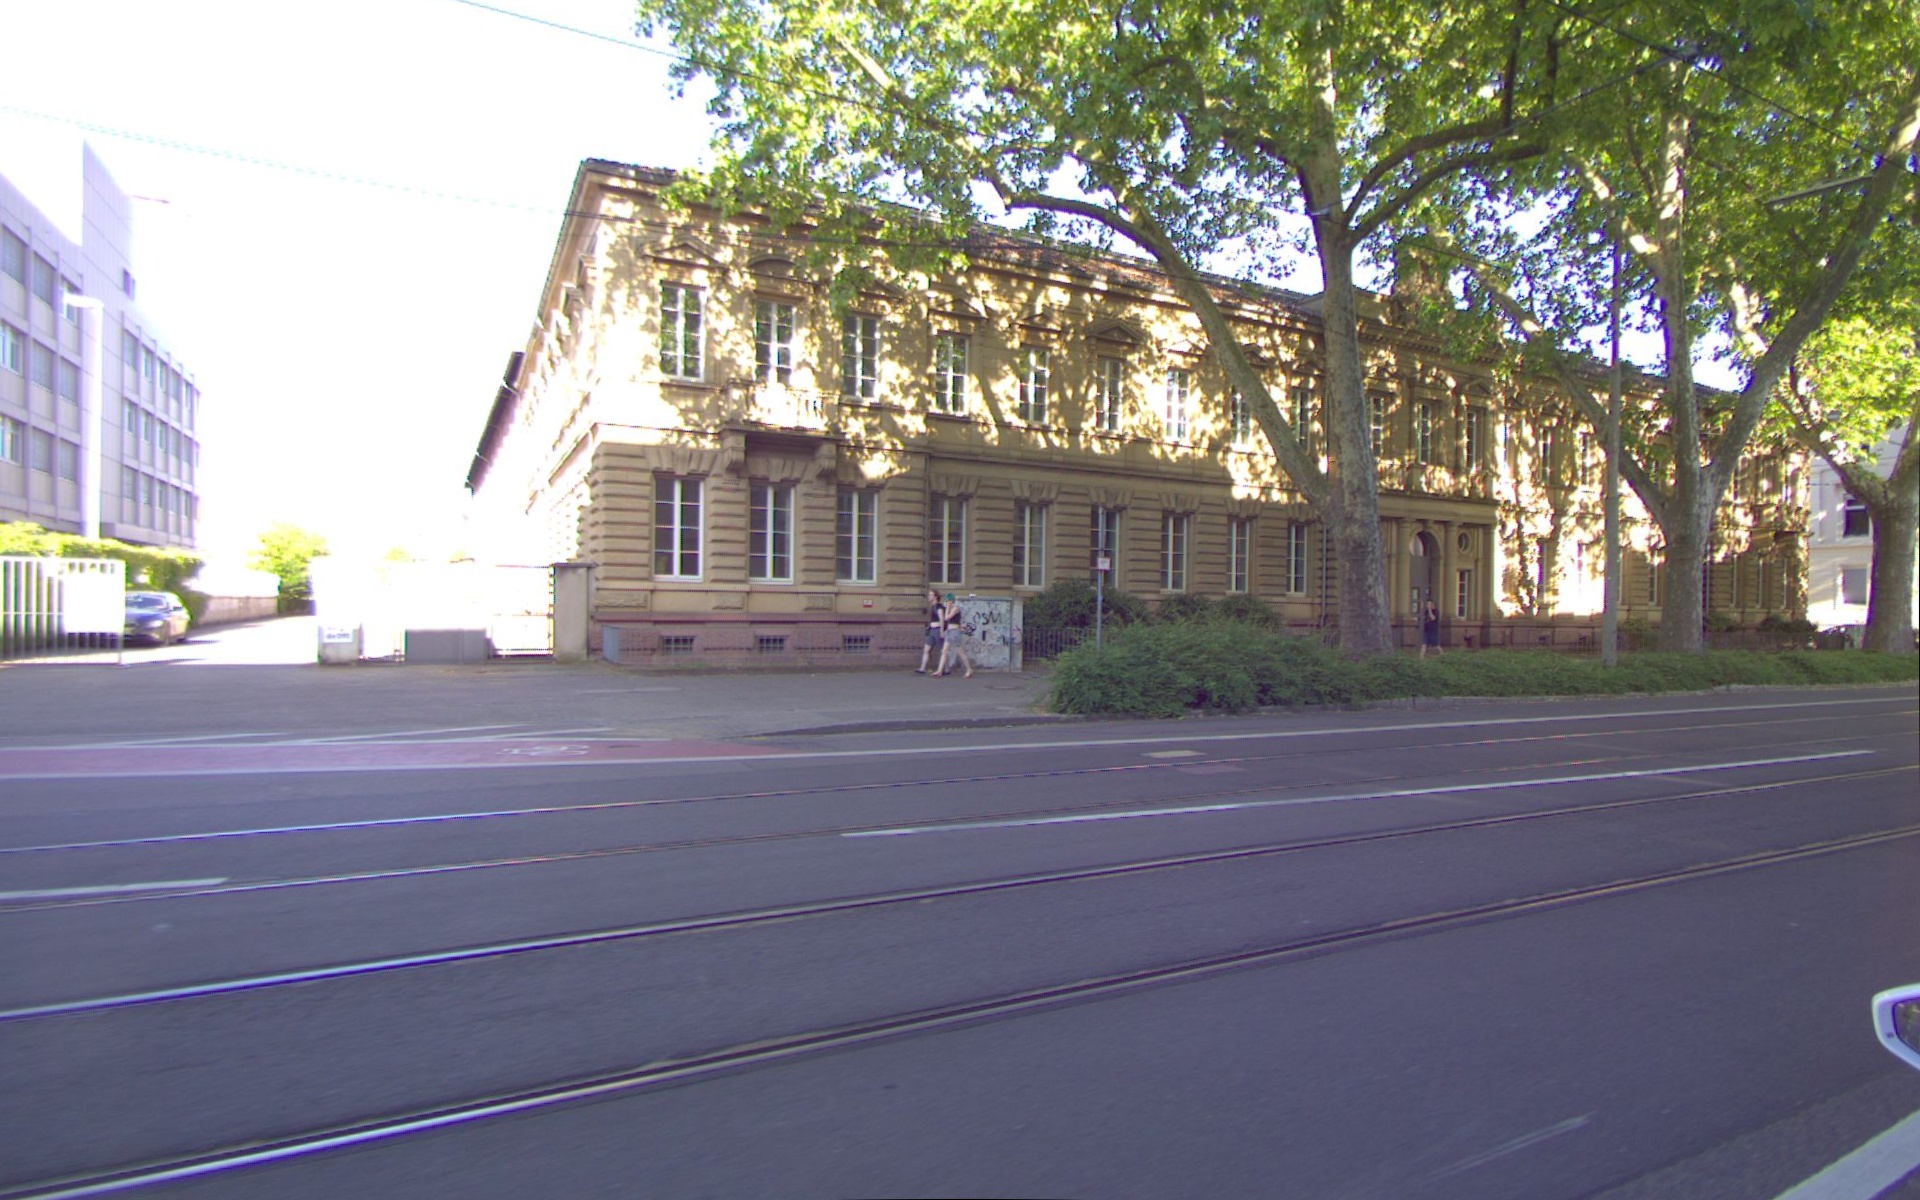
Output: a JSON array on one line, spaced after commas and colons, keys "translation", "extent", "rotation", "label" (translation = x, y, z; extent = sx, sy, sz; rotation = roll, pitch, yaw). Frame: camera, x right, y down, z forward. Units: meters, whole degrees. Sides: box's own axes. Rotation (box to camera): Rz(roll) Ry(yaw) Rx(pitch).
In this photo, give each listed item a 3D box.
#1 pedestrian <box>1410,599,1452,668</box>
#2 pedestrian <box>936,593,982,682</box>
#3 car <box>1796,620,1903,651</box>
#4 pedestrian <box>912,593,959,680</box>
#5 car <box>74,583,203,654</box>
[{"translation": [13.088, 0.918, 27.918], "extent": [0.829, 1.874, 0.714], "rotation": [1, 0, -35], "label": "pedestrian"}, {"translation": [-0.025, 0.736, 19.903], "extent": [0.650, 1.720, 0.629], "rotation": [1, 0, -35], "label": "pedestrian"}, {"translation": [45.405, 1.795, 51.366], "extent": [1.672, 1.437, 3.762], "rotation": [-2, 0, -27], "label": "car"}, {"translation": [-0.497, 0.738, 20.389], "extent": [0.655, 1.720, 0.666], "rotation": [1, 0, -35], "label": "pedestrian"}, {"translation": [-21.889, 0.443, 26.943], "extent": [1.830, 1.742, 4.250], "rotation": [1, 0, -28], "label": "car"}]
